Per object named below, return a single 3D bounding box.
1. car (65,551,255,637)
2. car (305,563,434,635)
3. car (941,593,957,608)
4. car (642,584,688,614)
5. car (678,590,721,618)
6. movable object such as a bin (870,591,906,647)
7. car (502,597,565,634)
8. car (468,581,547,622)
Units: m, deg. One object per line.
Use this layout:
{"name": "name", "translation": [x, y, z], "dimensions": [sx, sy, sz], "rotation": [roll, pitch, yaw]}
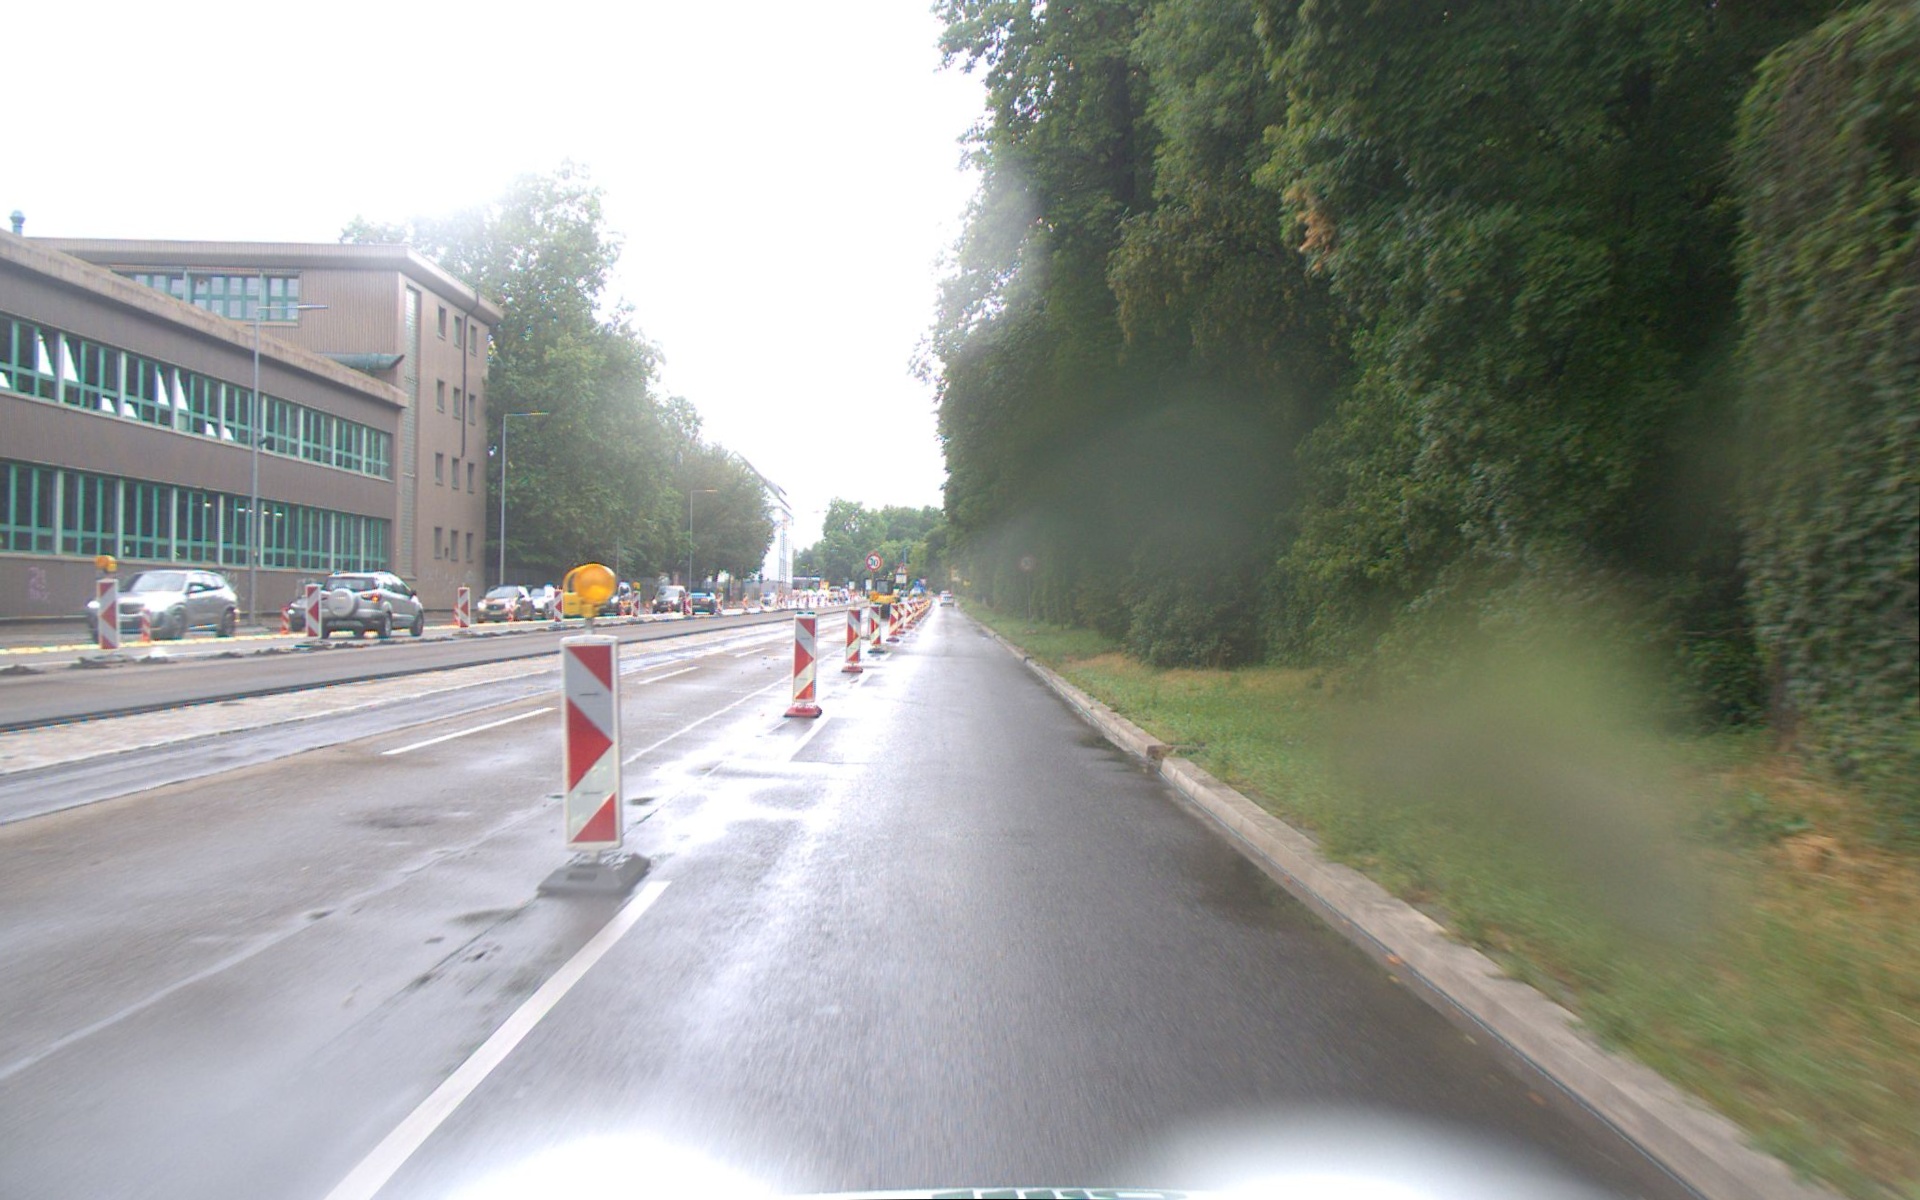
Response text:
{"name": "car", "translation": [-18.150, -0.082, 37.821], "dimensions": [1.948, 1.799, 4.674], "rotation": [2, -1, 1]}
{"name": "car", "translation": [-14.888, 0.016, 41.913], "dimensions": [1.817, 1.677, 3.999], "rotation": [2, -1, -1]}
{"name": "car", "translation": [-1.440, 0.052, 211.581], "dimensions": [1.953, 1.702, 3.999], "rotation": [2, -1, 0]}
{"name": "car", "translation": [-19.360, -0.071, 108.686], "dimensions": [1.952, 1.811, 4.954], "rotation": [2, -1, 1]}
{"name": "car", "translation": [-15.645, 0.242, 99.446], "dimensions": [1.953, 1.546, 3.999], "rotation": [2, -1, -1]}
{"name": "movable object such as a bin", "translation": [-4.511, 1.218, 104.697], "dimensions": [1.953, 3.426, 5.981], "rotation": [2, -1, 0]}
{"name": "car", "translation": [-21.166, 0.802, 82.238], "dimensions": [1.899, 1.736, 4.933], "rotation": [2, -1, -2]}
{"name": "car", "translation": [-18.359, 0.096, 67.357], "dimensions": [1.855, 1.528, 4.516], "rotation": [2, -1, 1]}
